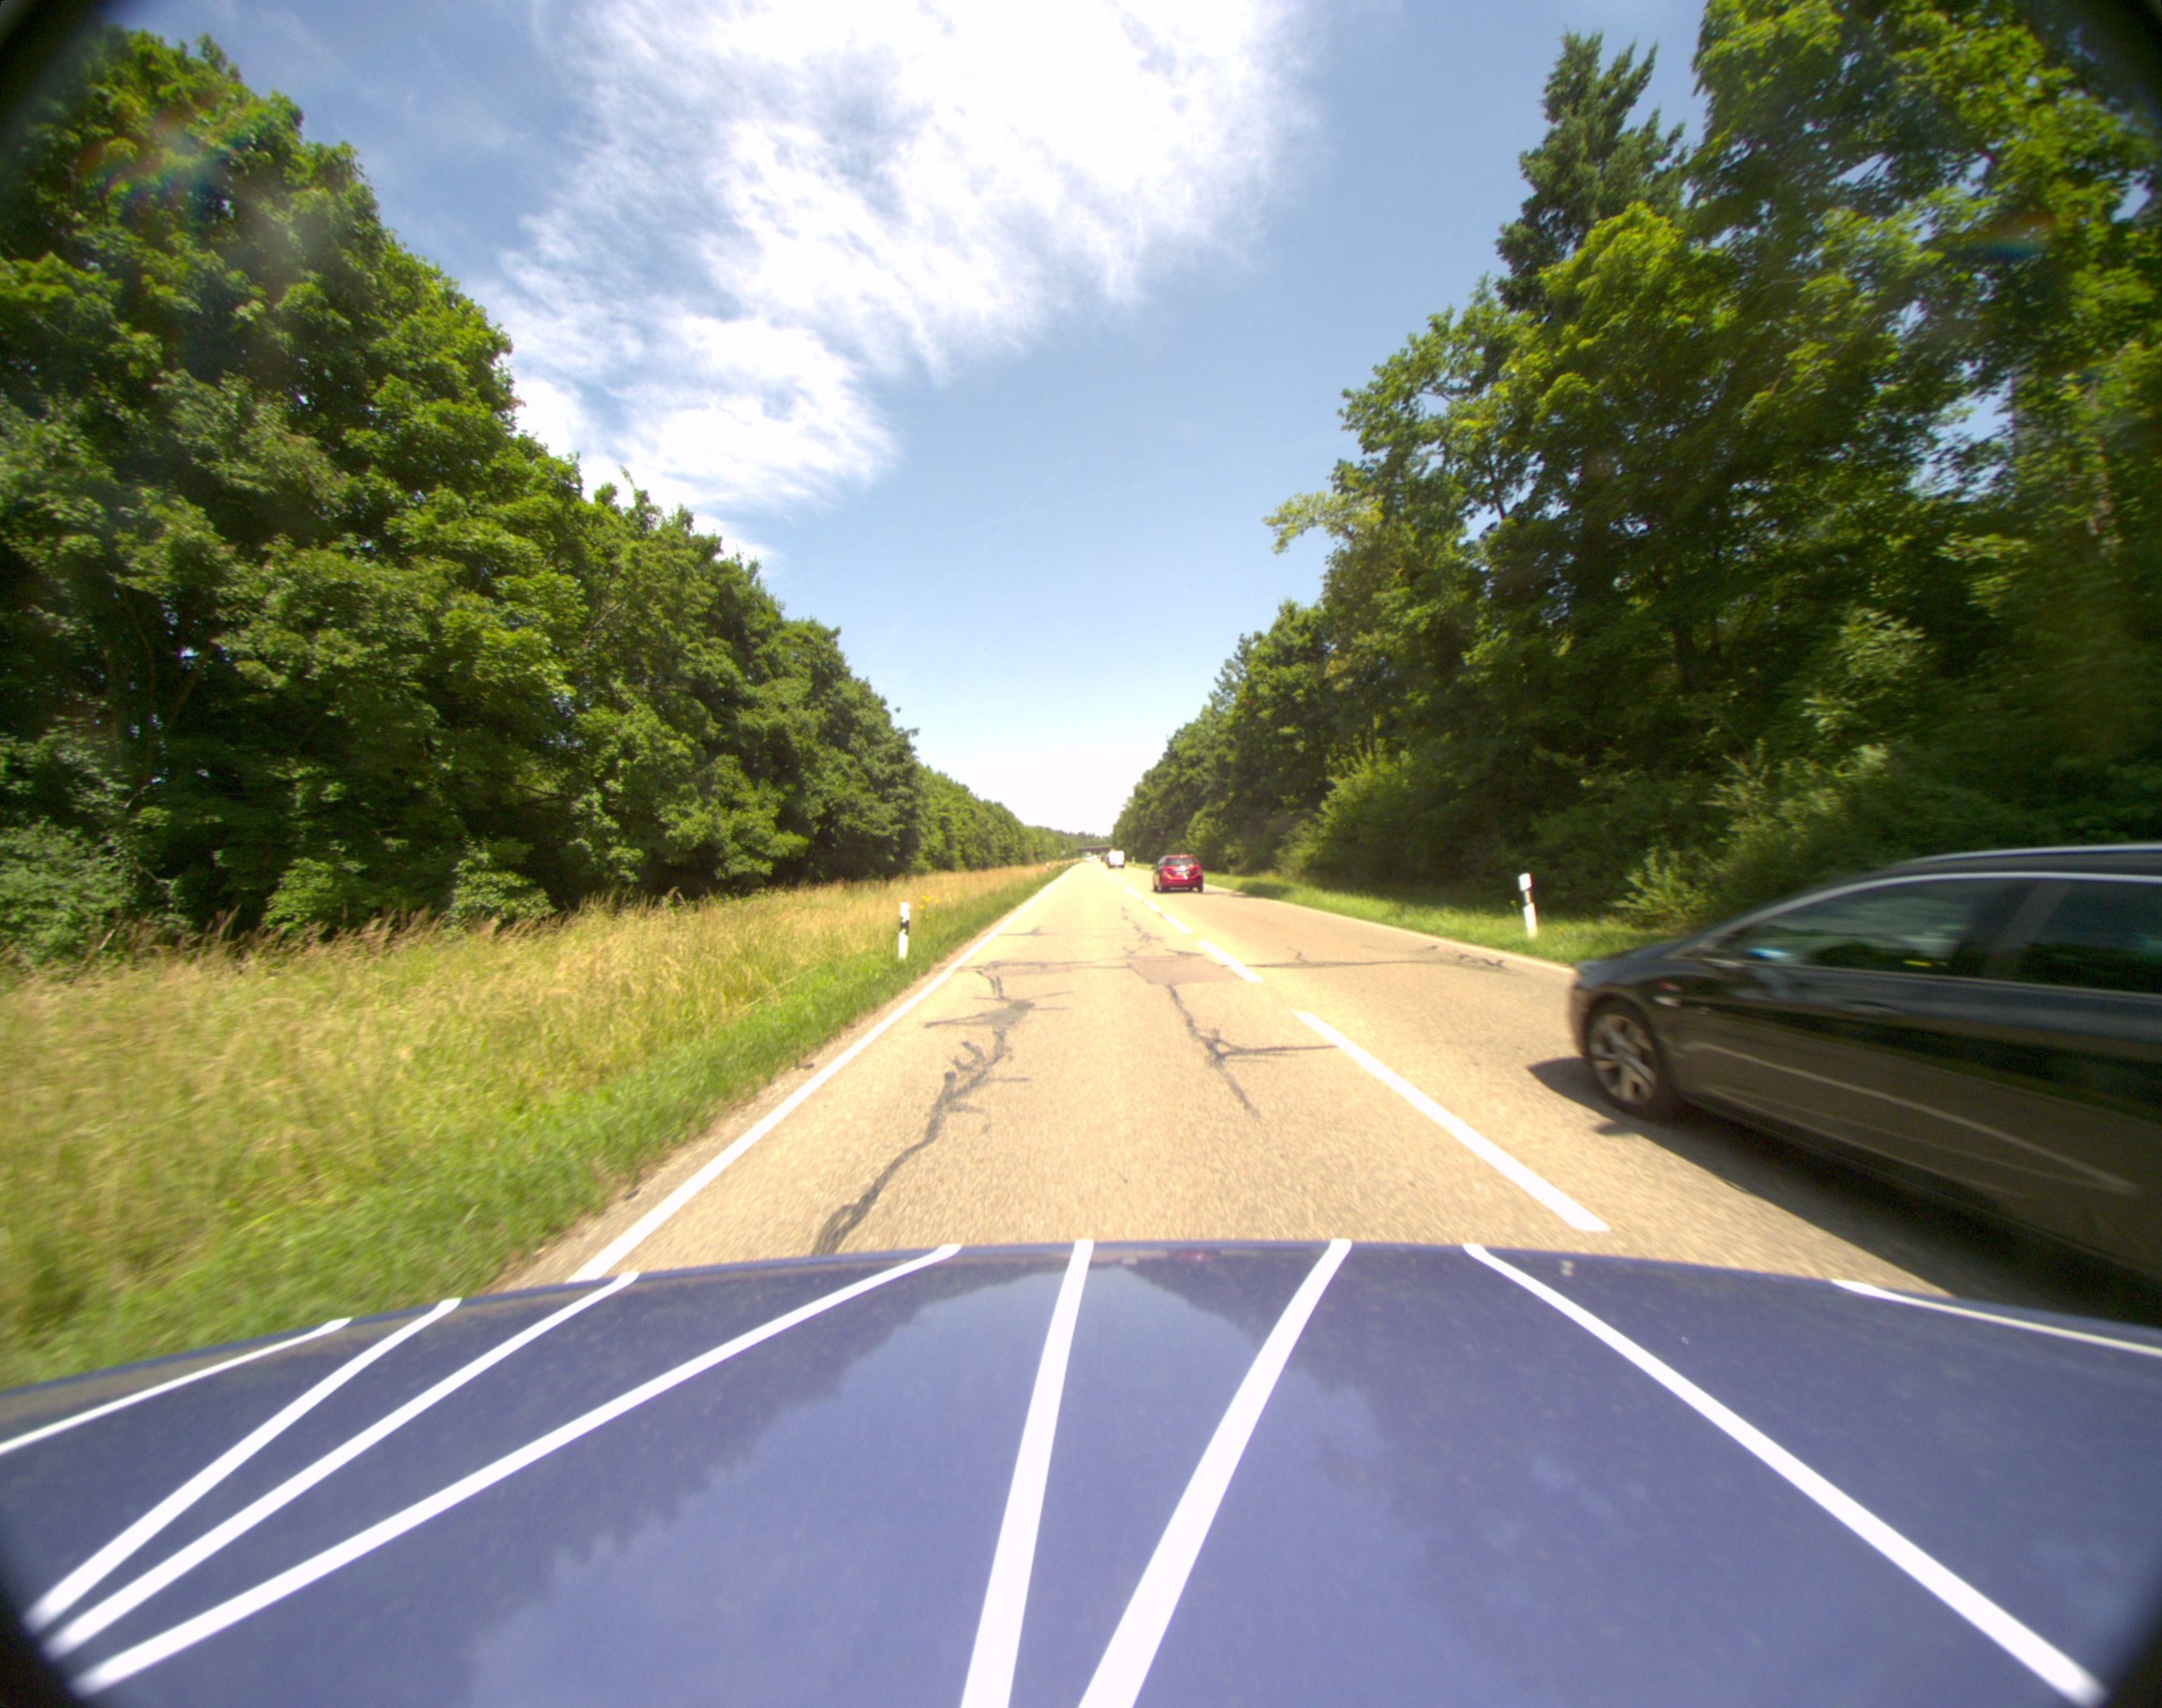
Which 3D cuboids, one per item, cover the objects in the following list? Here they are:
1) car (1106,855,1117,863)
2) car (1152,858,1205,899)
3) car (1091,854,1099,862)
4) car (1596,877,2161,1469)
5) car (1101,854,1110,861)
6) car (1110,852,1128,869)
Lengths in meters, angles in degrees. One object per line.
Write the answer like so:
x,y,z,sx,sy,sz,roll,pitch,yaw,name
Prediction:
6.164,0.901,153.288,1.844,1.527,4.658,-2,0,0,car
3.914,0.939,31.025,1.686,1.484,4.000,-2,0,1,car
3.393,0.921,185.436,1.865,1.747,3.999,-2,0,0,car
3.736,0.878,2.201,1.788,1.441,4.110,-2,0,2,car
5.773,0.784,178.834,1.870,1.615,4.200,-2,0,0,car
4.426,0.750,89.062,1.880,1.917,4.987,-2,0,1,car
